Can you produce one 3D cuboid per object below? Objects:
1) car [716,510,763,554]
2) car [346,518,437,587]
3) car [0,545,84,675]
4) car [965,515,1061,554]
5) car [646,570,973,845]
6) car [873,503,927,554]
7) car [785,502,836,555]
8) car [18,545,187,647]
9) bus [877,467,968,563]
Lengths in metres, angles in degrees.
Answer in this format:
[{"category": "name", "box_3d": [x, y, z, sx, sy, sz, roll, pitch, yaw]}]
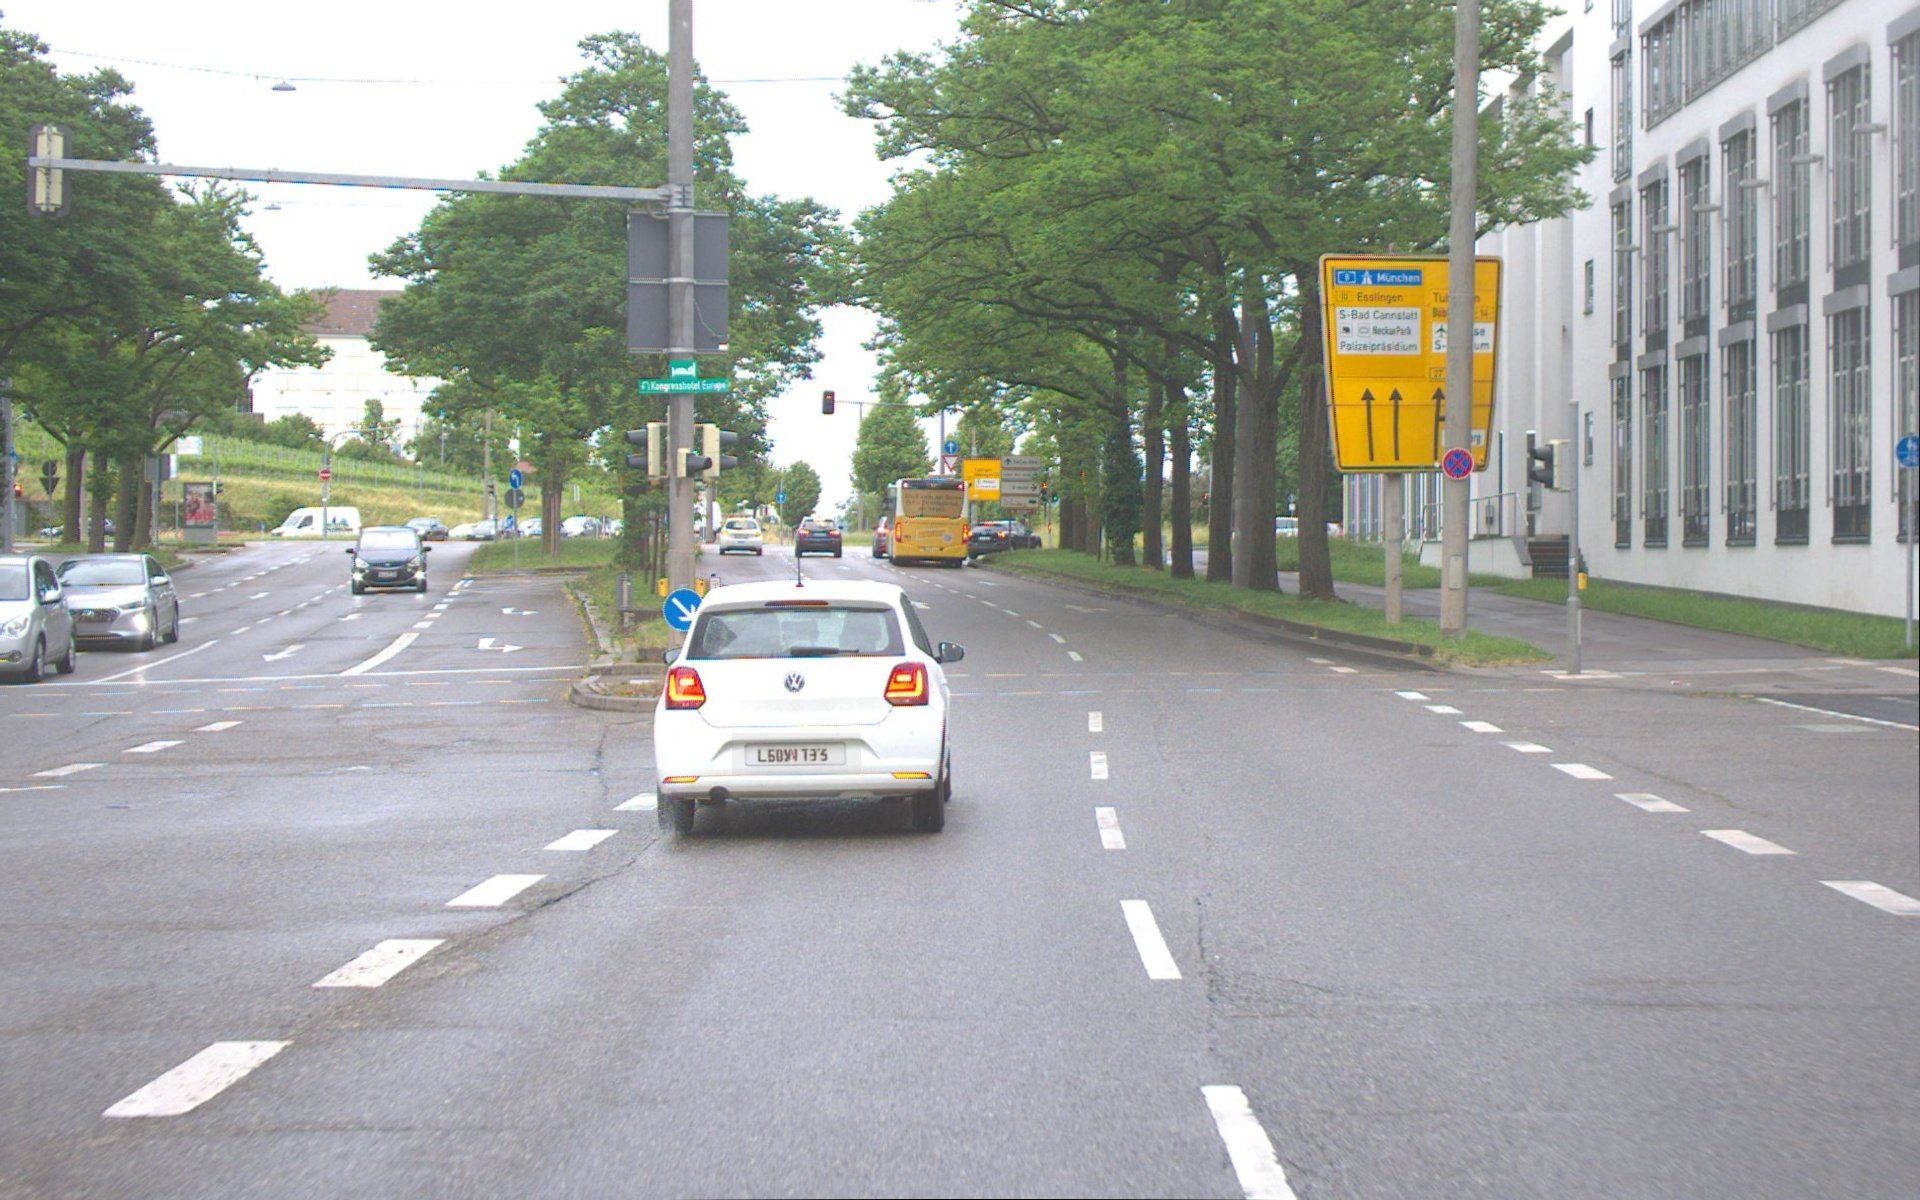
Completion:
[{"category": "car", "box_3d": [-8.804, -2.707, 137.153, 1.794, 1.735, 4.001, -1, 1, -4]}, {"category": "car", "box_3d": [-14.398, -1.237, 87.286, 1.993, 1.610, 5.122, -2, 2, -7]}, {"category": "car", "box_3d": [-12.140, 0.102, 42.922, 1.750, 1.515, 3.818, -1, 1, -6]}, {"category": "car", "box_3d": [2.096, -2.566, 135.362, 1.699, 1.510, 3.818, 0, 1, 42]}, {"category": "car", "box_3d": [-0.890, 0.575, 21.007, 1.794, 1.497, 4.000, 1, 1, -2]}, {"category": "car", "box_3d": [-2.397, -2.835, 136.356, 1.993, 2.007, 4.001, 0, 1, -3]}, {"category": "car", "box_3d": [-5.906, -2.803, 135.516, 1.993, 2.007, 4.000, 0, 1, -3]}, {"category": "car", "box_3d": [-13.100, -0.096, 52.767, 1.814, 1.406, 4.657, -2, 2, -6]}, {"category": "bus", "box_3d": [-1.405, -3.063, 123.182, 2.828, 3.255, 10.002, 1, 2, -3]}]
